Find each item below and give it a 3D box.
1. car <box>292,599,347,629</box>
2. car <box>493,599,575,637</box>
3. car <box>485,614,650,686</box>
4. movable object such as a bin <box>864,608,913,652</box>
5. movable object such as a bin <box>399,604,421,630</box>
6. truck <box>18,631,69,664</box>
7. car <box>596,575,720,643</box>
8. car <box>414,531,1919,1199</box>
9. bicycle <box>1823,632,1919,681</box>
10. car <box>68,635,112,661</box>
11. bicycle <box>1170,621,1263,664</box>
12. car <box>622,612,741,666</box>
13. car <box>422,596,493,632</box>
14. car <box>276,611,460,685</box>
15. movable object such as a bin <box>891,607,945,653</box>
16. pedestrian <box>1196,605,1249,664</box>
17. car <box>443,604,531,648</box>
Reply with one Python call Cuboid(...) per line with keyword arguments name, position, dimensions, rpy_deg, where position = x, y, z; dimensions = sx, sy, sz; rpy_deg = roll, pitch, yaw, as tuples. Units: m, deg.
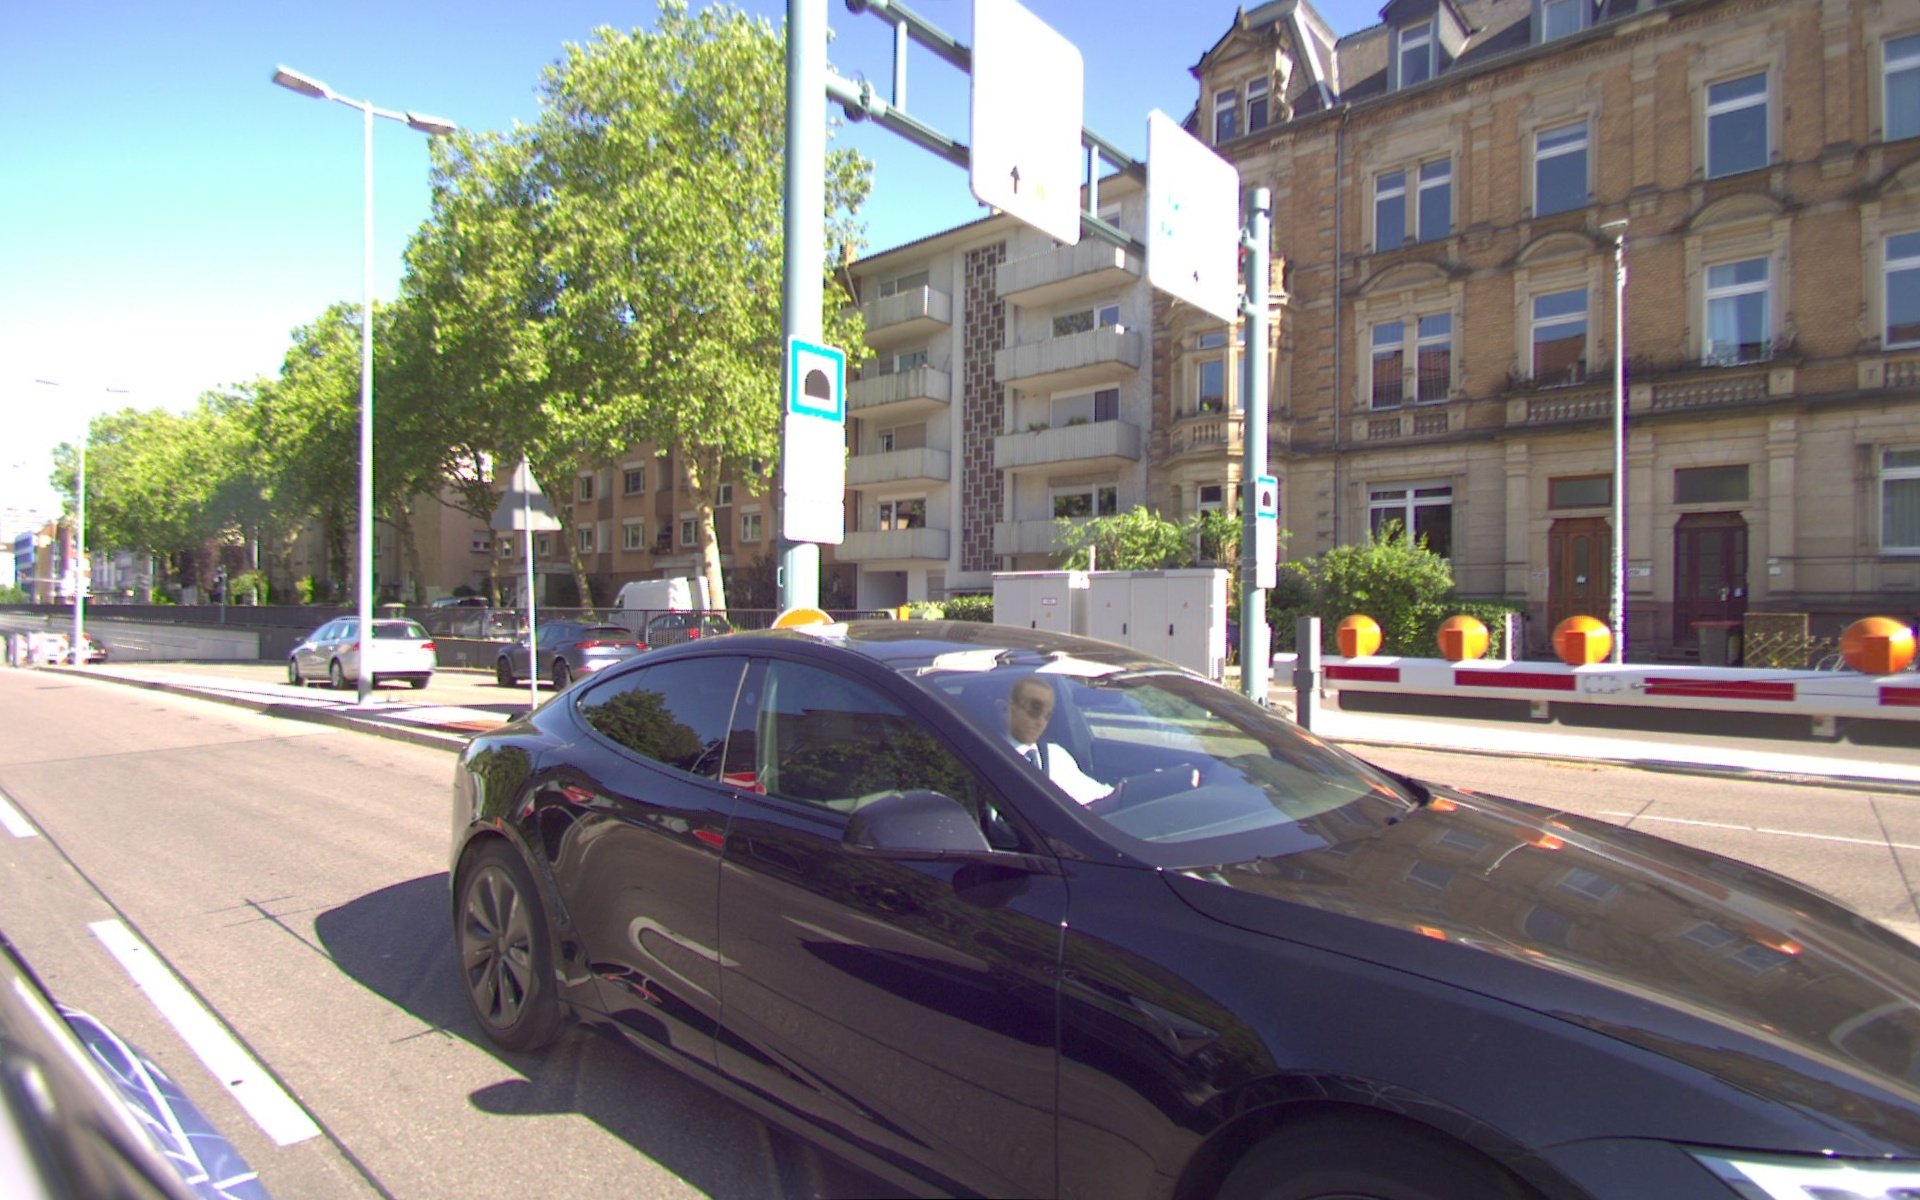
Cuboid(name="car", position=(-42.225, 0.959, 66.735), dimensions=(3.998, 1.864, 1.972), rpy_deg=(-2, -4, 41))
Cuboid(name="car", position=(-19.552, 0.863, 46.402), dimensions=(4.000, 1.592, 1.972), rpy_deg=(-2, -4, 43))
Cuboid(name="car", position=(-8.762, 1.086, 22.421), dimensions=(4.309, 1.452, 1.590), rpy_deg=(-1, -4, 42))
Cuboid(name="movable object such as a bin", position=(-2.283, 0.968, 32.156), dimensions=(1.314, 1.373, 0.883), rpy_deg=(-2, -4, 41))
Cuboid(name="movable object such as a bin", position=(-35.511, 1.107, 65.345), dimensions=(1.253, 1.654, 0.873), rpy_deg=(-2, -4, 41))
Cuboid(name="truck", position=(-69.151, 3.602, 76.361), dimensions=(5.366, 2.413, 2.255), rpy_deg=(-2, -4, 42))
Cuboid(name="car", position=(-11.784, 0.427, 39.331), dimensions=(5.287, 2.465, 2.220), rpy_deg=(-2, -4, 43))
Cuboid(name="car", position=(0.331, 0.672, 2.910), dimensions=(4.624, 1.422, 1.905), rpy_deg=(-1, -1, 42))
Cuboid(name="bicycle", position=(15.452, 0.937, 17.010), dimensions=(1.414, 0.777, 0.295), rpy_deg=(-1, -1, 43))
Cuboid(name="car", position=(-54.702, 3.001, 63.622), dimensions=(3.296, 1.485, 1.641), rpy_deg=(-1, -1, 41))
Cuboid(name="bicycle", position=(6.319, 1.035, 25.074), dimensions=(2.248, 1.012, 0.462), rpy_deg=(-1, 0, 41))
Cuboid(name="car", position=(-8.224, 1.125, 29.724), dimensions=(3.688, 1.449, 1.611), rpy_deg=(-2, 0, 41))
Cuboid(name="car", position=(-25.838, 0.744, 51.956), dimensions=(4.000, 1.766, 1.972), rpy_deg=(-2, -2, 43))
Cuboid(name="car", position=(-12.971, 1.062, 22.065), dimensions=(4.613, 1.464, 1.974), rpy_deg=(-3, -4, 39))
Cuboid(name="movable object such as a bin", position=(-1.295, 0.942, 31.172), dimensions=(1.474, 1.371, 0.883), rpy_deg=(-2, -4, 43))
Cuboid(name="pedestrian", position=(6.295, 0.809, 24.293), dimensions=(1.089, 1.388, 0.560), rpy_deg=(-1, -1, 40))
Cuboid(name="car", position=(-17.901, 0.955, 38.240), dimensions=(3.687, 1.498, 1.611), rpy_deg=(-1, 2, 41))
